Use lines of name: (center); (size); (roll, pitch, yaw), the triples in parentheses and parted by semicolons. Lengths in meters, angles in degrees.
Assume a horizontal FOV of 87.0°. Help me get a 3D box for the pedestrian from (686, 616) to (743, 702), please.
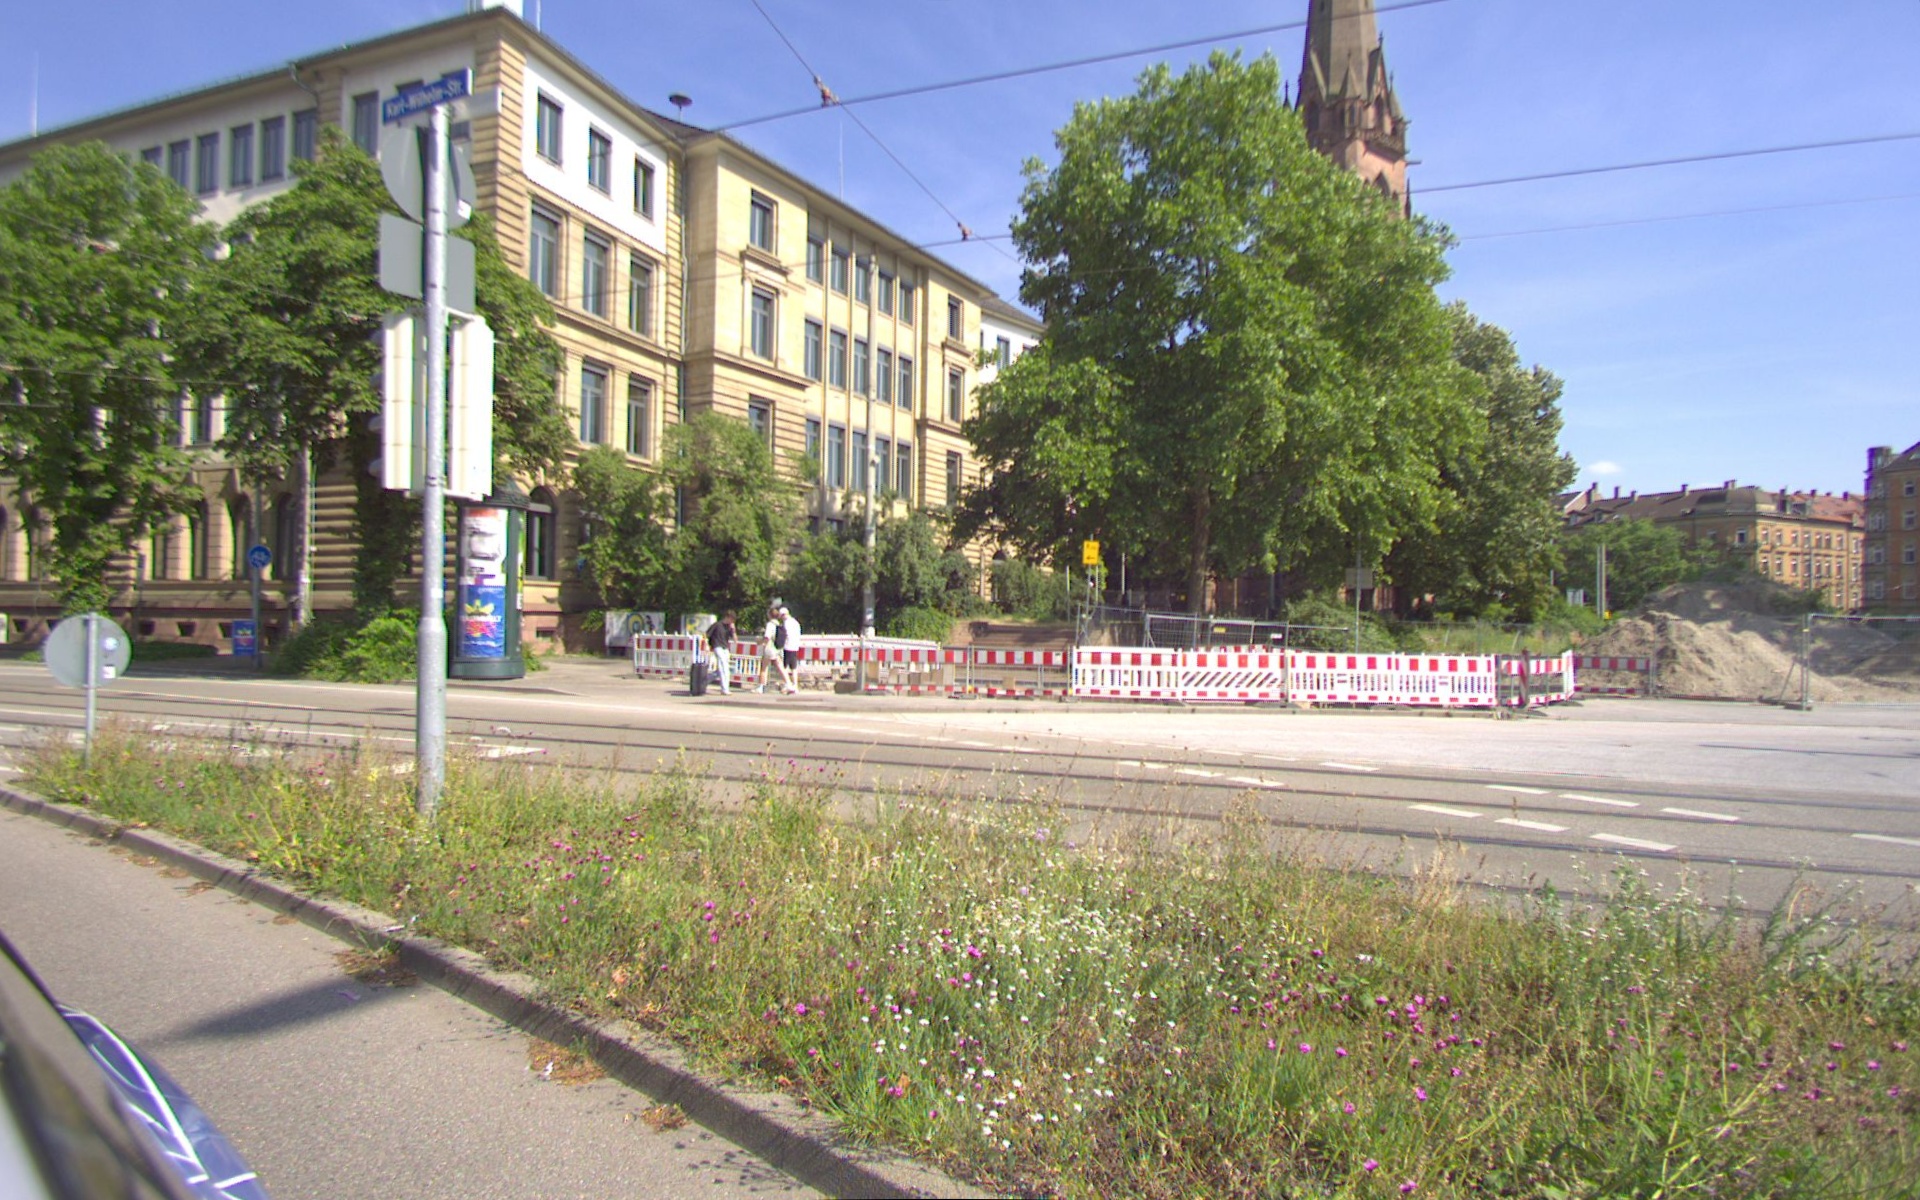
pedestrian: (-4.968, 1.177, 20.456); (0.924, 1.668, 0.847); (1, -2, -26)

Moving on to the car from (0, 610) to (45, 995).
car: (-6.248, 0.781, 4.693); (4.814, 1.530, 1.844); (0, -2, 34)

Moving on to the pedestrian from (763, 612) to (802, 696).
pedestrian: (-3.800, 1.140, 21.679); (0.734, 1.763, 0.585); (1, -2, -2)

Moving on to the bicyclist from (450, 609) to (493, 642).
bicyclist: (-14.061, 0.725, 29.138); (0.862, 0.934, 0.679); (0, -2, 17)

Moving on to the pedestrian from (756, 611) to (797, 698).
pedestrian: (-3.803, 1.126, 20.989); (0.734, 1.763, 0.585); (1, -2, -1)
